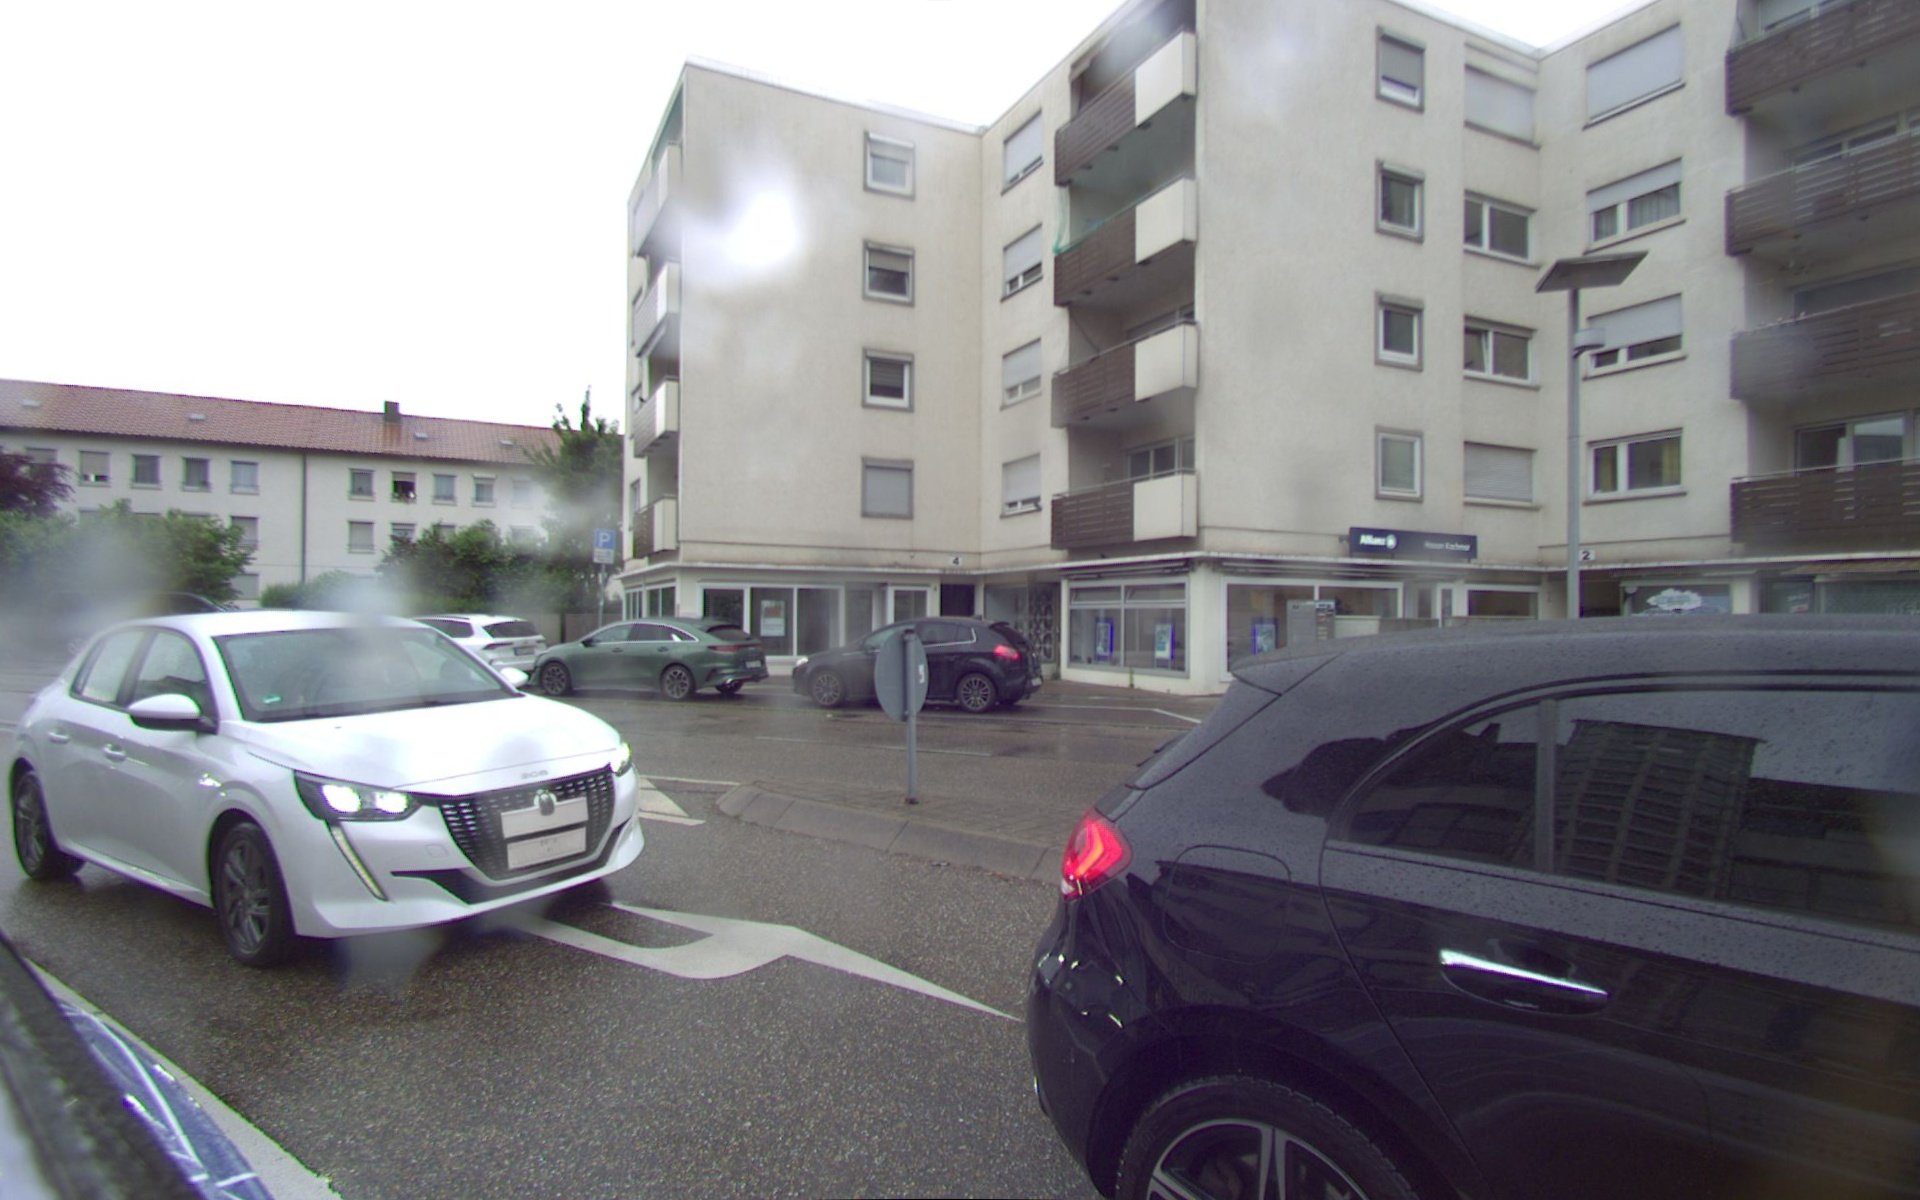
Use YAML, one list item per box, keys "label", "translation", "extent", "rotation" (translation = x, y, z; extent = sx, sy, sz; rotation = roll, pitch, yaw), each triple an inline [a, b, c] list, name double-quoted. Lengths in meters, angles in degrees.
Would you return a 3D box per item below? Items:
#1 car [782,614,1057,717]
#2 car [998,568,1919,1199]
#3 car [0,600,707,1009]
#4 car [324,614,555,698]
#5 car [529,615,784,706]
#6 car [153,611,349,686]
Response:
- label: "car"
  translation: [-0.644, 0.990, 16.635]
  extent: [4.156, 1.471, 1.825]
  rotation: [0, 0, 20]
- label: "car"
  translation: [2.179, 0.683, 1.311]
  extent: [4.090, 1.492, 1.646]
  rotation: [-2, -1, 40]
- label: "car"
  translation: [-3.367, 0.745, 5.322]
  extent: [3.882, 1.420, 1.726]
  rotation: [-1, 0, 31]
- label: "car"
  translation: [-10.439, 1.066, 20.306]
  extent: [4.313, 1.511, 1.627]
  rotation: [0, -1, 20]
- label: "car"
  translation: [-5.538, 1.035, 18.524]
  extent: [4.241, 1.445, 1.826]
  rotation: [0, 0, 19]
- label: "car"
  translation: [-15.647, 1.024, 22.350]
  extent: [3.852, 1.517, 1.623]
  rotation: [0, -1, 20]
